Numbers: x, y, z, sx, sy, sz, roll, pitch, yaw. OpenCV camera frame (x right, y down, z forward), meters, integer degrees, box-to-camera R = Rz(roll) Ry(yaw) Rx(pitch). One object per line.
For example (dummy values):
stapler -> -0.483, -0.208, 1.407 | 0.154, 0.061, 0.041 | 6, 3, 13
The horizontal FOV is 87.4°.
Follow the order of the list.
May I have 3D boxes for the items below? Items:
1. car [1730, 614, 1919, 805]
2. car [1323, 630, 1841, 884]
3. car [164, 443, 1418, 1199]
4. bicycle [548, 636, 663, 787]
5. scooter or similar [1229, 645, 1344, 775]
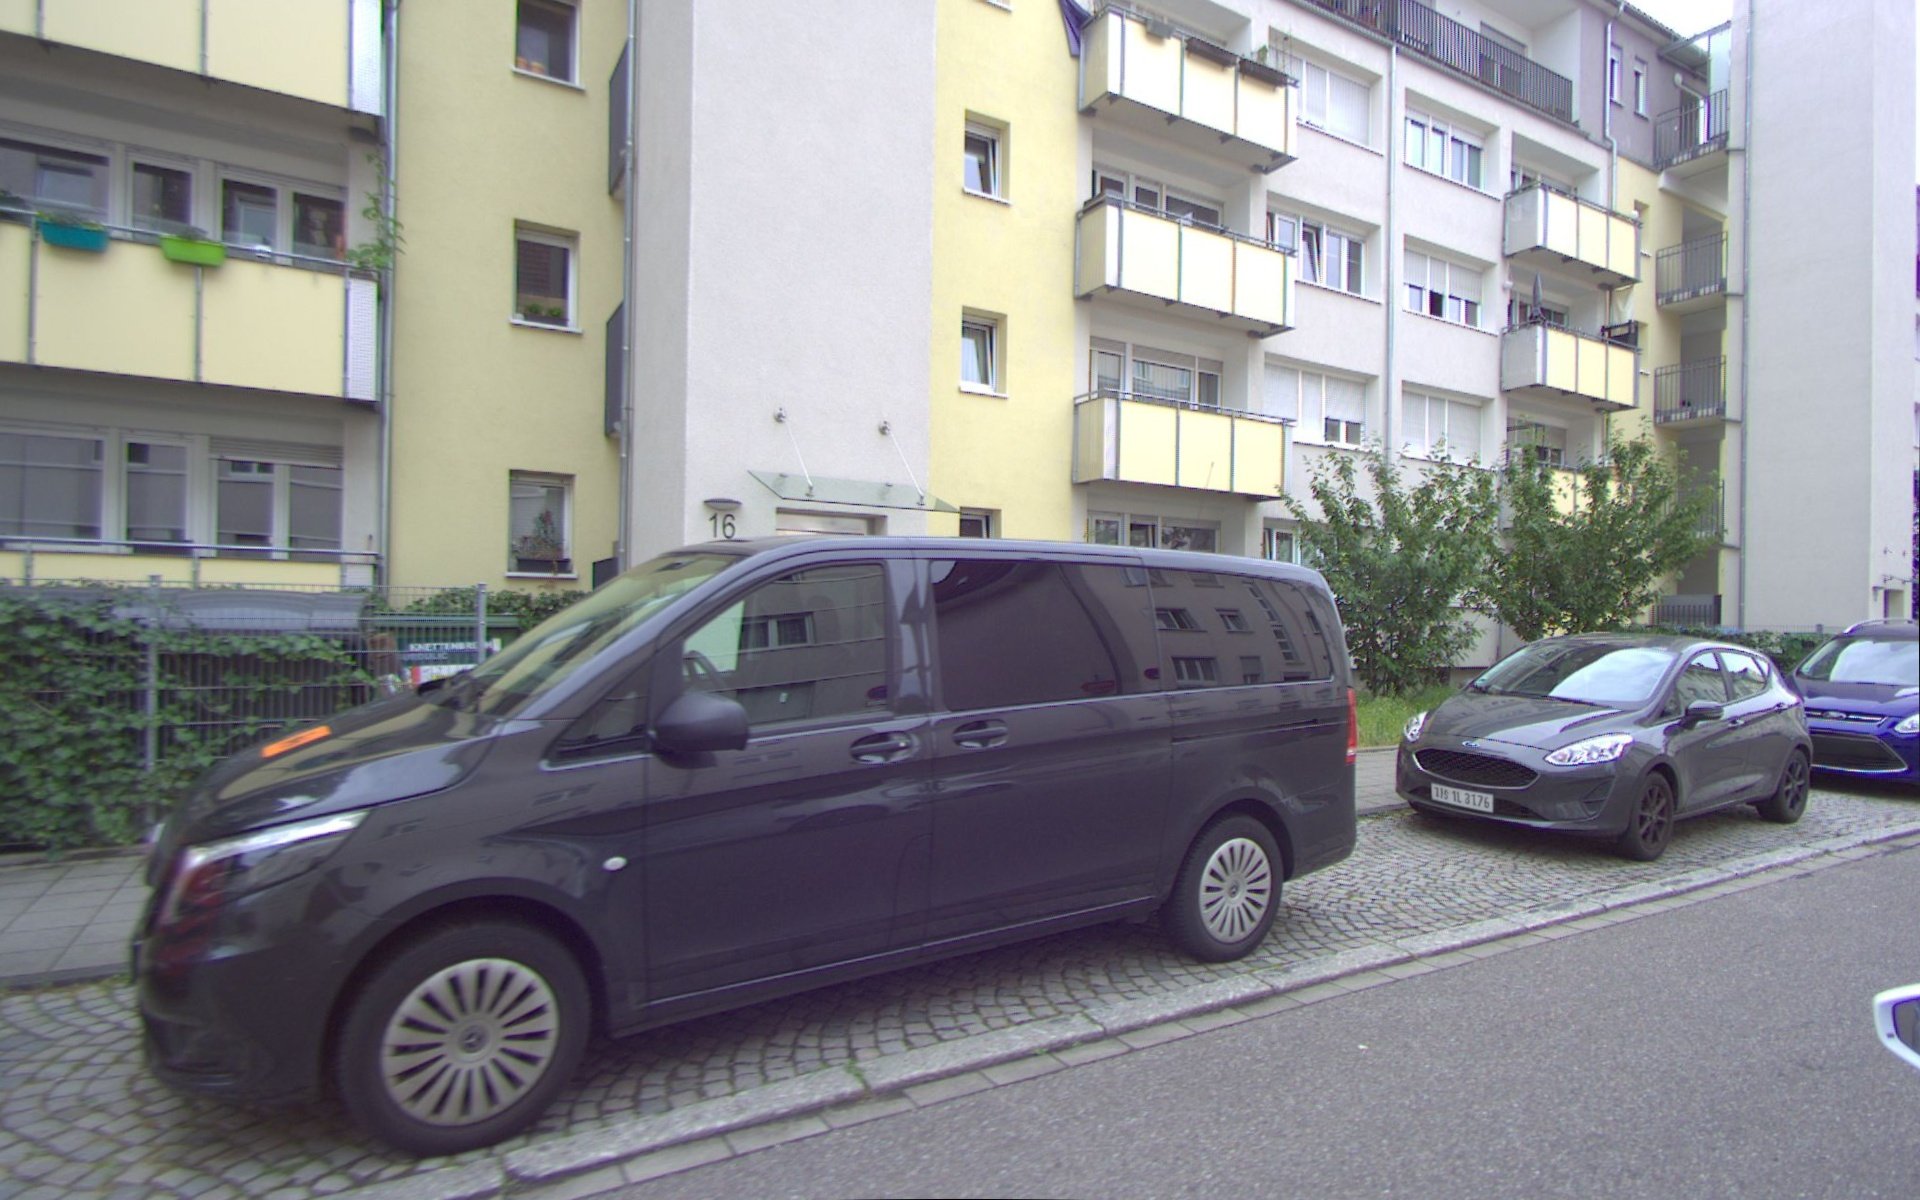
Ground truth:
car -> 10.047, 1.019, 10.512 | 4.306, 1.665, 1.760 | 1, 0, -32
car -> 5.008, 1.006, 7.948 | 4.212, 1.478, 1.820 | 1, 0, -32
car -> -0.302, 0.598, 4.562 | 4.975, 1.929, 1.868 | 1, 2, -32
bicycle -> -3.261, 0.930, 9.107 | 0.517, 1.141, 2.195 | 1, -1, -32
scooter or similar -> 3.157, 1.057, 9.724 | 0.959, 1.197, 0.360 | 2, 2, -8
